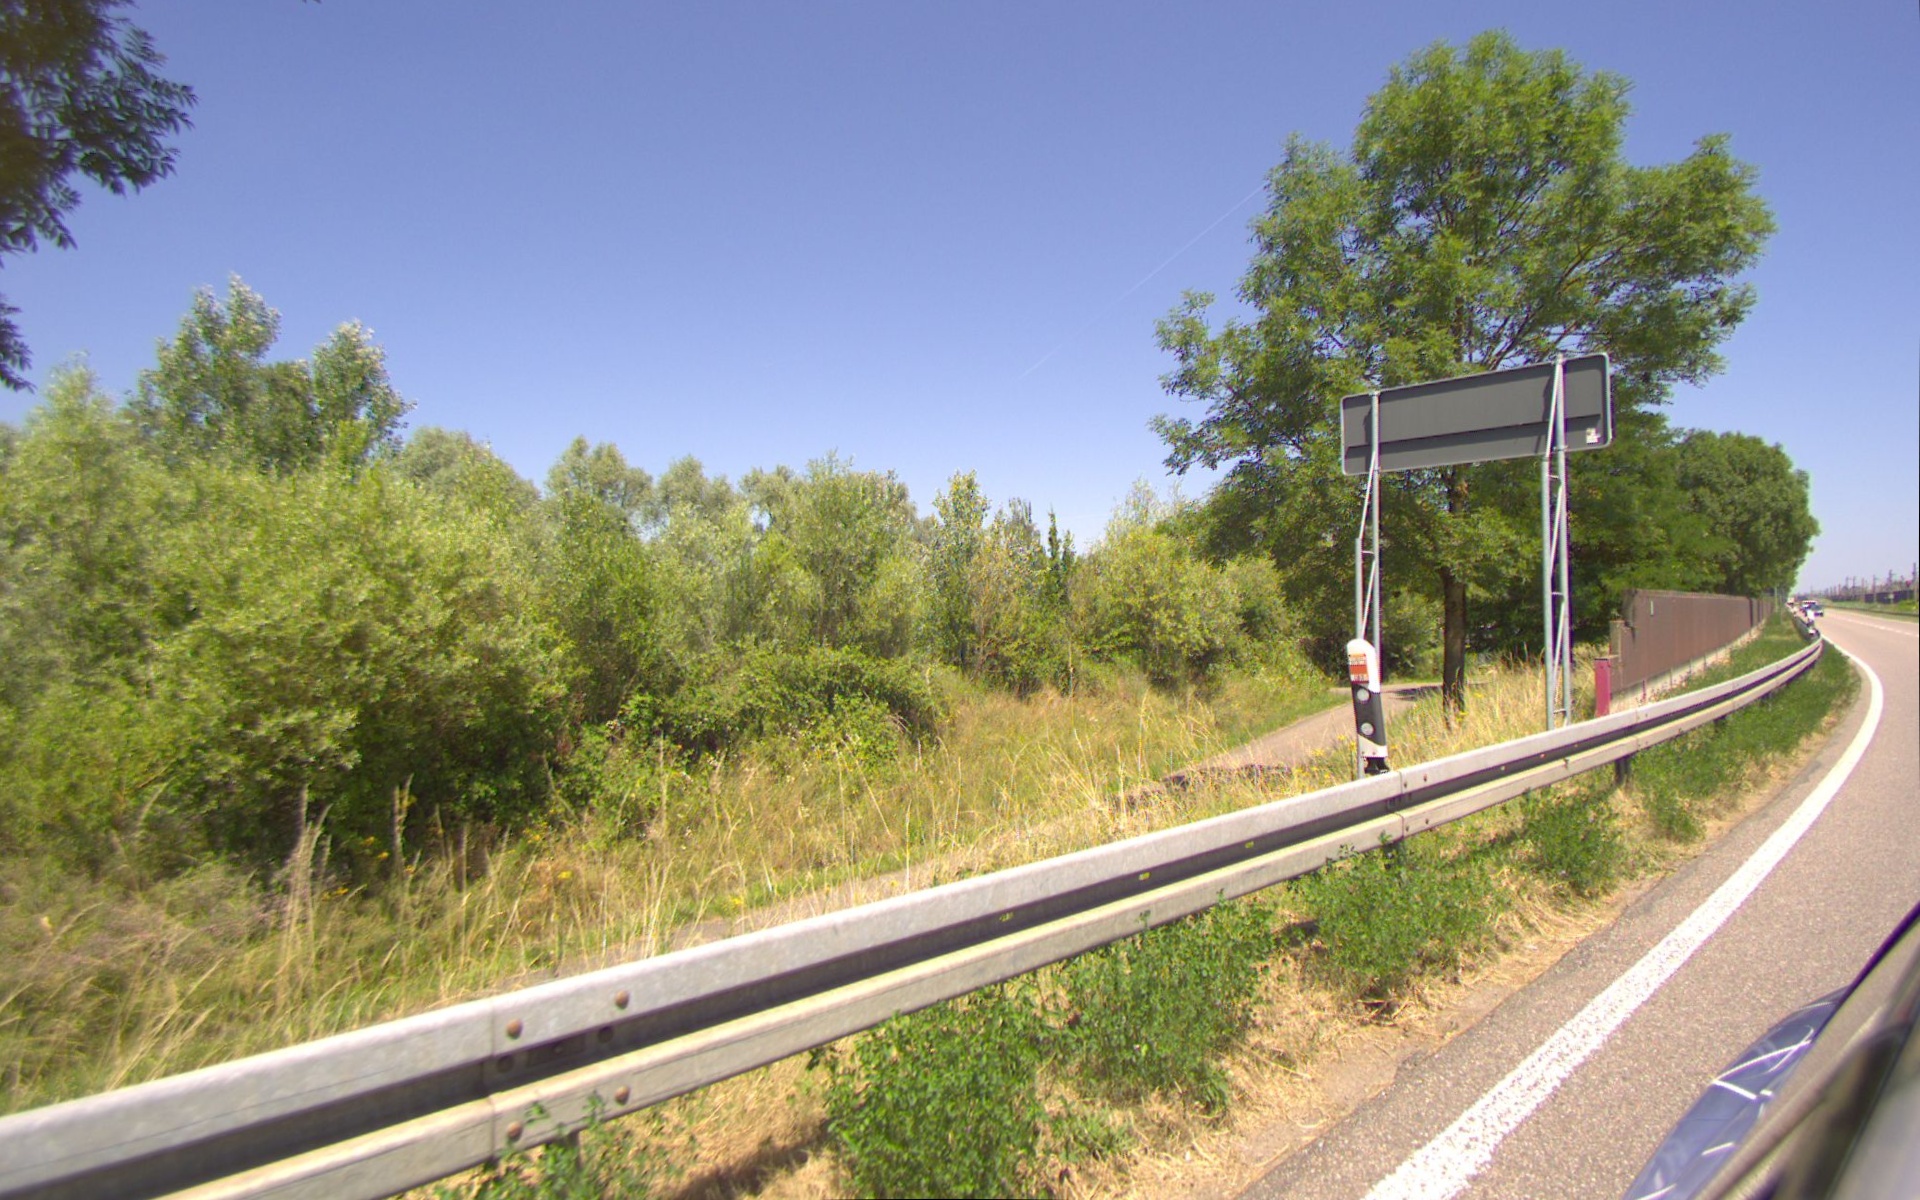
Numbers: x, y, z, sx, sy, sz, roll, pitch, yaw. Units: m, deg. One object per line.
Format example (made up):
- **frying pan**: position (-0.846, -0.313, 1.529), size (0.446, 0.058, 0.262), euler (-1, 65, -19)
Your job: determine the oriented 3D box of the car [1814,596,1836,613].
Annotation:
- **car**: position (108.213, 0.574, 126.568), size (1.993, 2.039, 3.938), euler (0, 0, 43)
